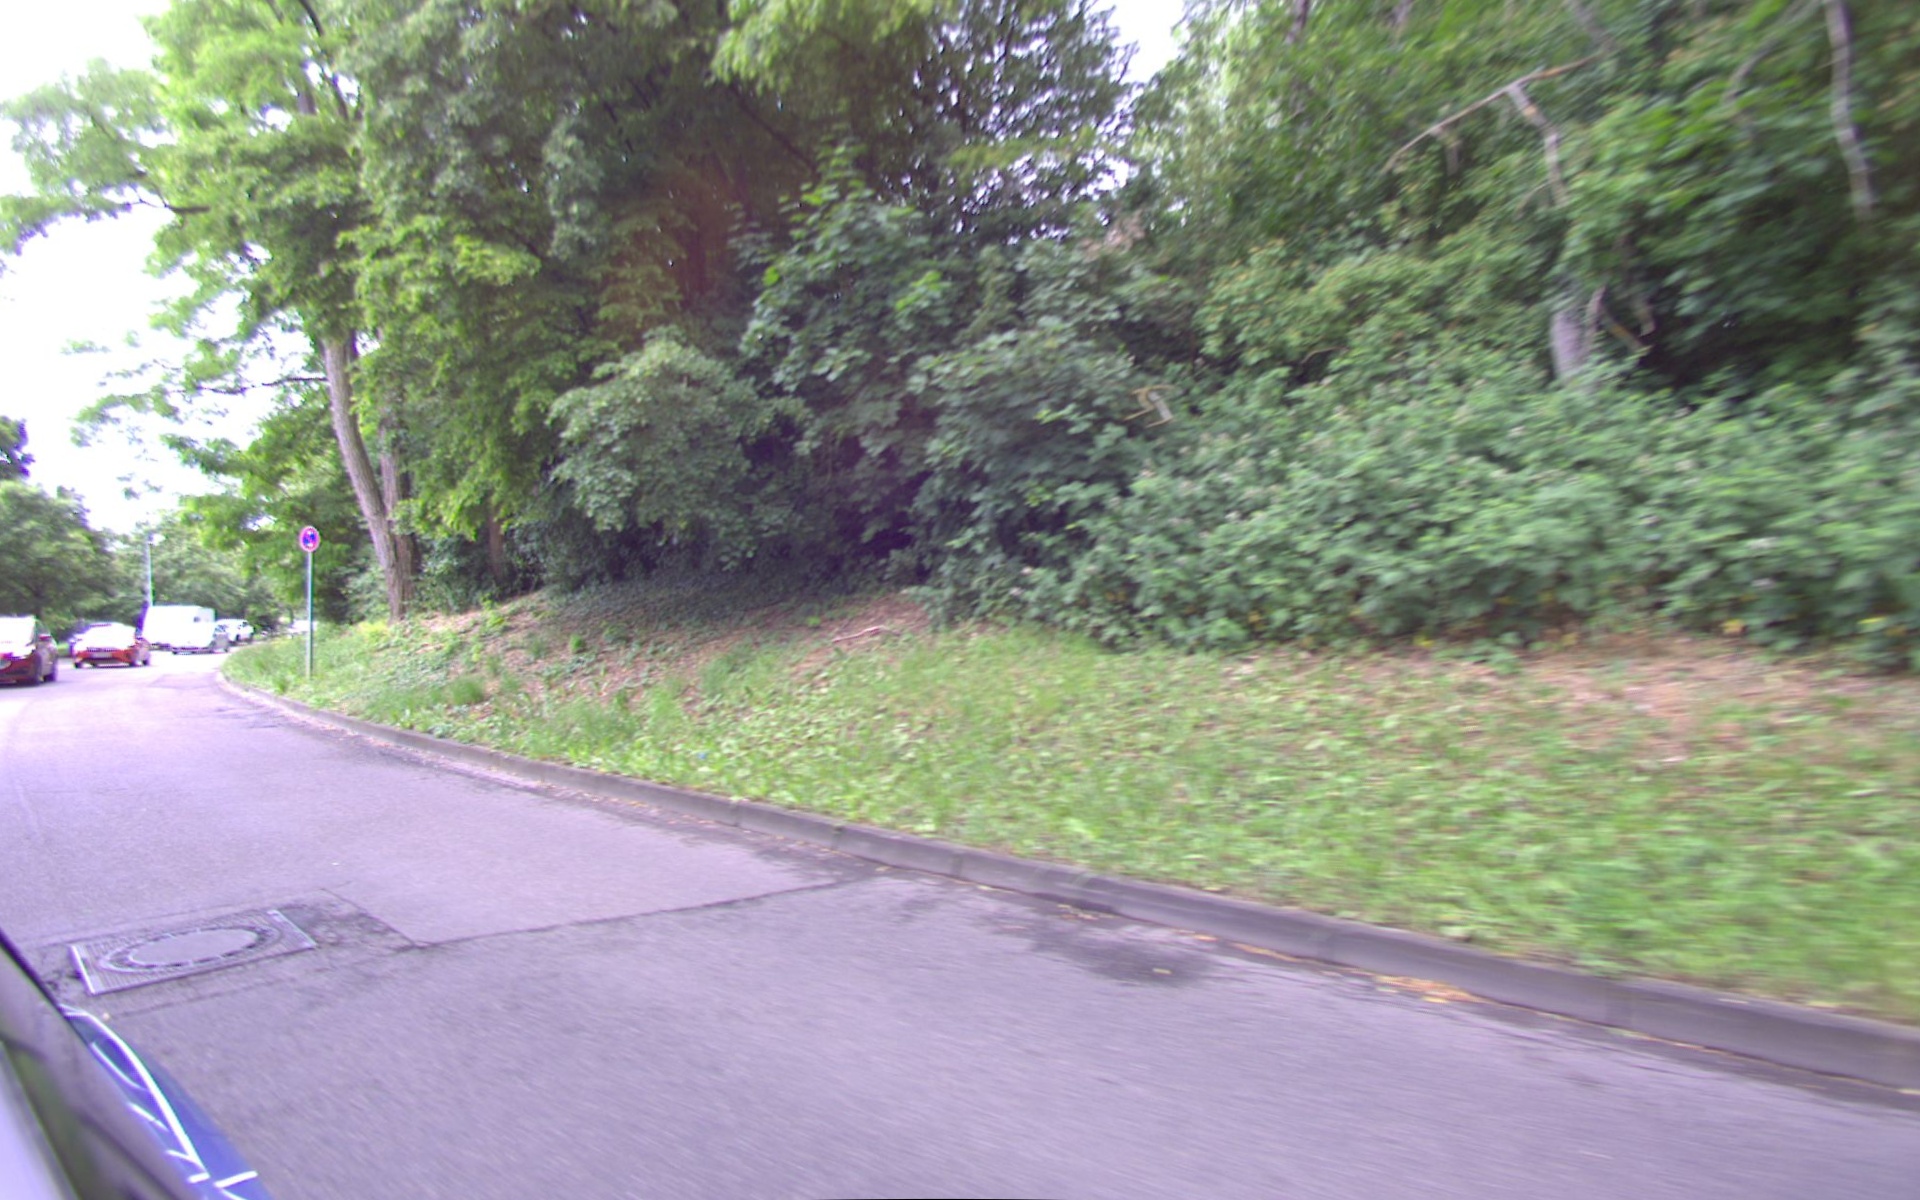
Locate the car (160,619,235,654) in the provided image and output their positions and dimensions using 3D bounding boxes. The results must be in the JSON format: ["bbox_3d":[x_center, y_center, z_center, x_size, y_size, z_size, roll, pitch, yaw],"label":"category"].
[{"bbox_3d":[-39.993,1.877,53.192,1.891,1.694,4.012,1,0,-18],"label":"car"}]

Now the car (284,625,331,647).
[{"bbox_3d":[-45.594,2.486,70.844,1.774,1.501,4.012,0,-1,-18],"label":"car"}]

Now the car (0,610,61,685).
[{"bbox_3d":[-23.006,1.108,24.110,1.968,1.641,4.636,-2,0,-37],"label":"car"}]

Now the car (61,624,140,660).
[{"bbox_3d":[-41.314,1.976,48.754,1.822,1.655,4.545,0,-1,-26],"label":"car"}]

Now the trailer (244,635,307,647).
[{"bbox_3d":[-50.669,3.010,75.046,2.075,0.656,6.420,-2,0,-17],"label":"trailer"}]

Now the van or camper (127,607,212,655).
[{"bbox_3d":[-45.281,1.727,58.136,2.131,2.555,6.051,-2,0,-21],"label":"van or camper"}]

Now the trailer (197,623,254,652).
[{"bbox_3d":[-48.477,2.426,66.864,1.747,1.744,4.665,1,0,-19],"label":"trailer"}]

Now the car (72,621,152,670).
[{"bbox_3d":[-30.258,1.603,36.232,1.837,1.459,4.186,2,0,-36],"label":"car"}]
